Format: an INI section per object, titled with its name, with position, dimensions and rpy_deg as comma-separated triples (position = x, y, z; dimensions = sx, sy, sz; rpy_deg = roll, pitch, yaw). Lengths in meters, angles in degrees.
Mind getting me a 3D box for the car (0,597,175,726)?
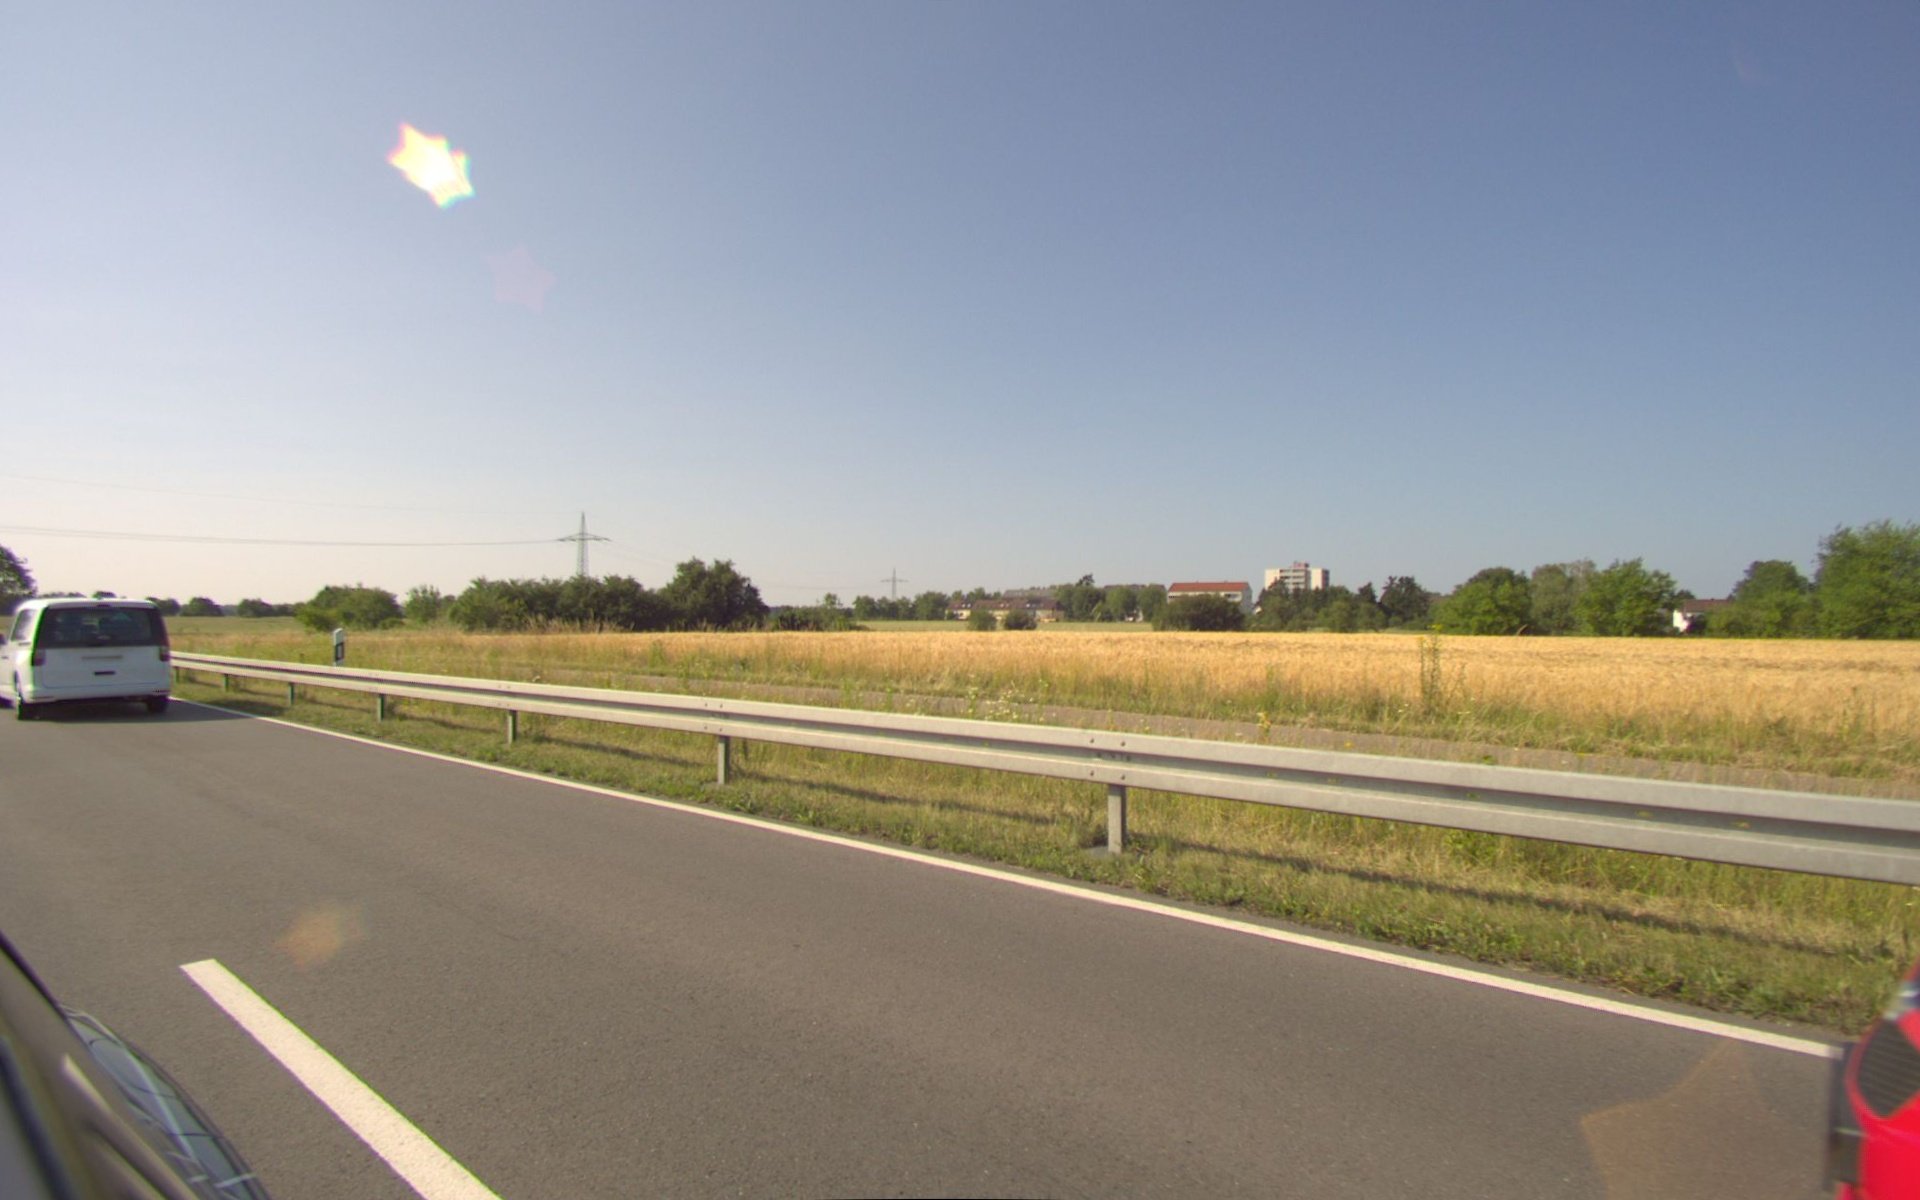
[car]
position = -14.327, 0.917, 16.357
dimensions = 4.433, 1.800, 1.817
rpy_deg = -2, -2, 42
